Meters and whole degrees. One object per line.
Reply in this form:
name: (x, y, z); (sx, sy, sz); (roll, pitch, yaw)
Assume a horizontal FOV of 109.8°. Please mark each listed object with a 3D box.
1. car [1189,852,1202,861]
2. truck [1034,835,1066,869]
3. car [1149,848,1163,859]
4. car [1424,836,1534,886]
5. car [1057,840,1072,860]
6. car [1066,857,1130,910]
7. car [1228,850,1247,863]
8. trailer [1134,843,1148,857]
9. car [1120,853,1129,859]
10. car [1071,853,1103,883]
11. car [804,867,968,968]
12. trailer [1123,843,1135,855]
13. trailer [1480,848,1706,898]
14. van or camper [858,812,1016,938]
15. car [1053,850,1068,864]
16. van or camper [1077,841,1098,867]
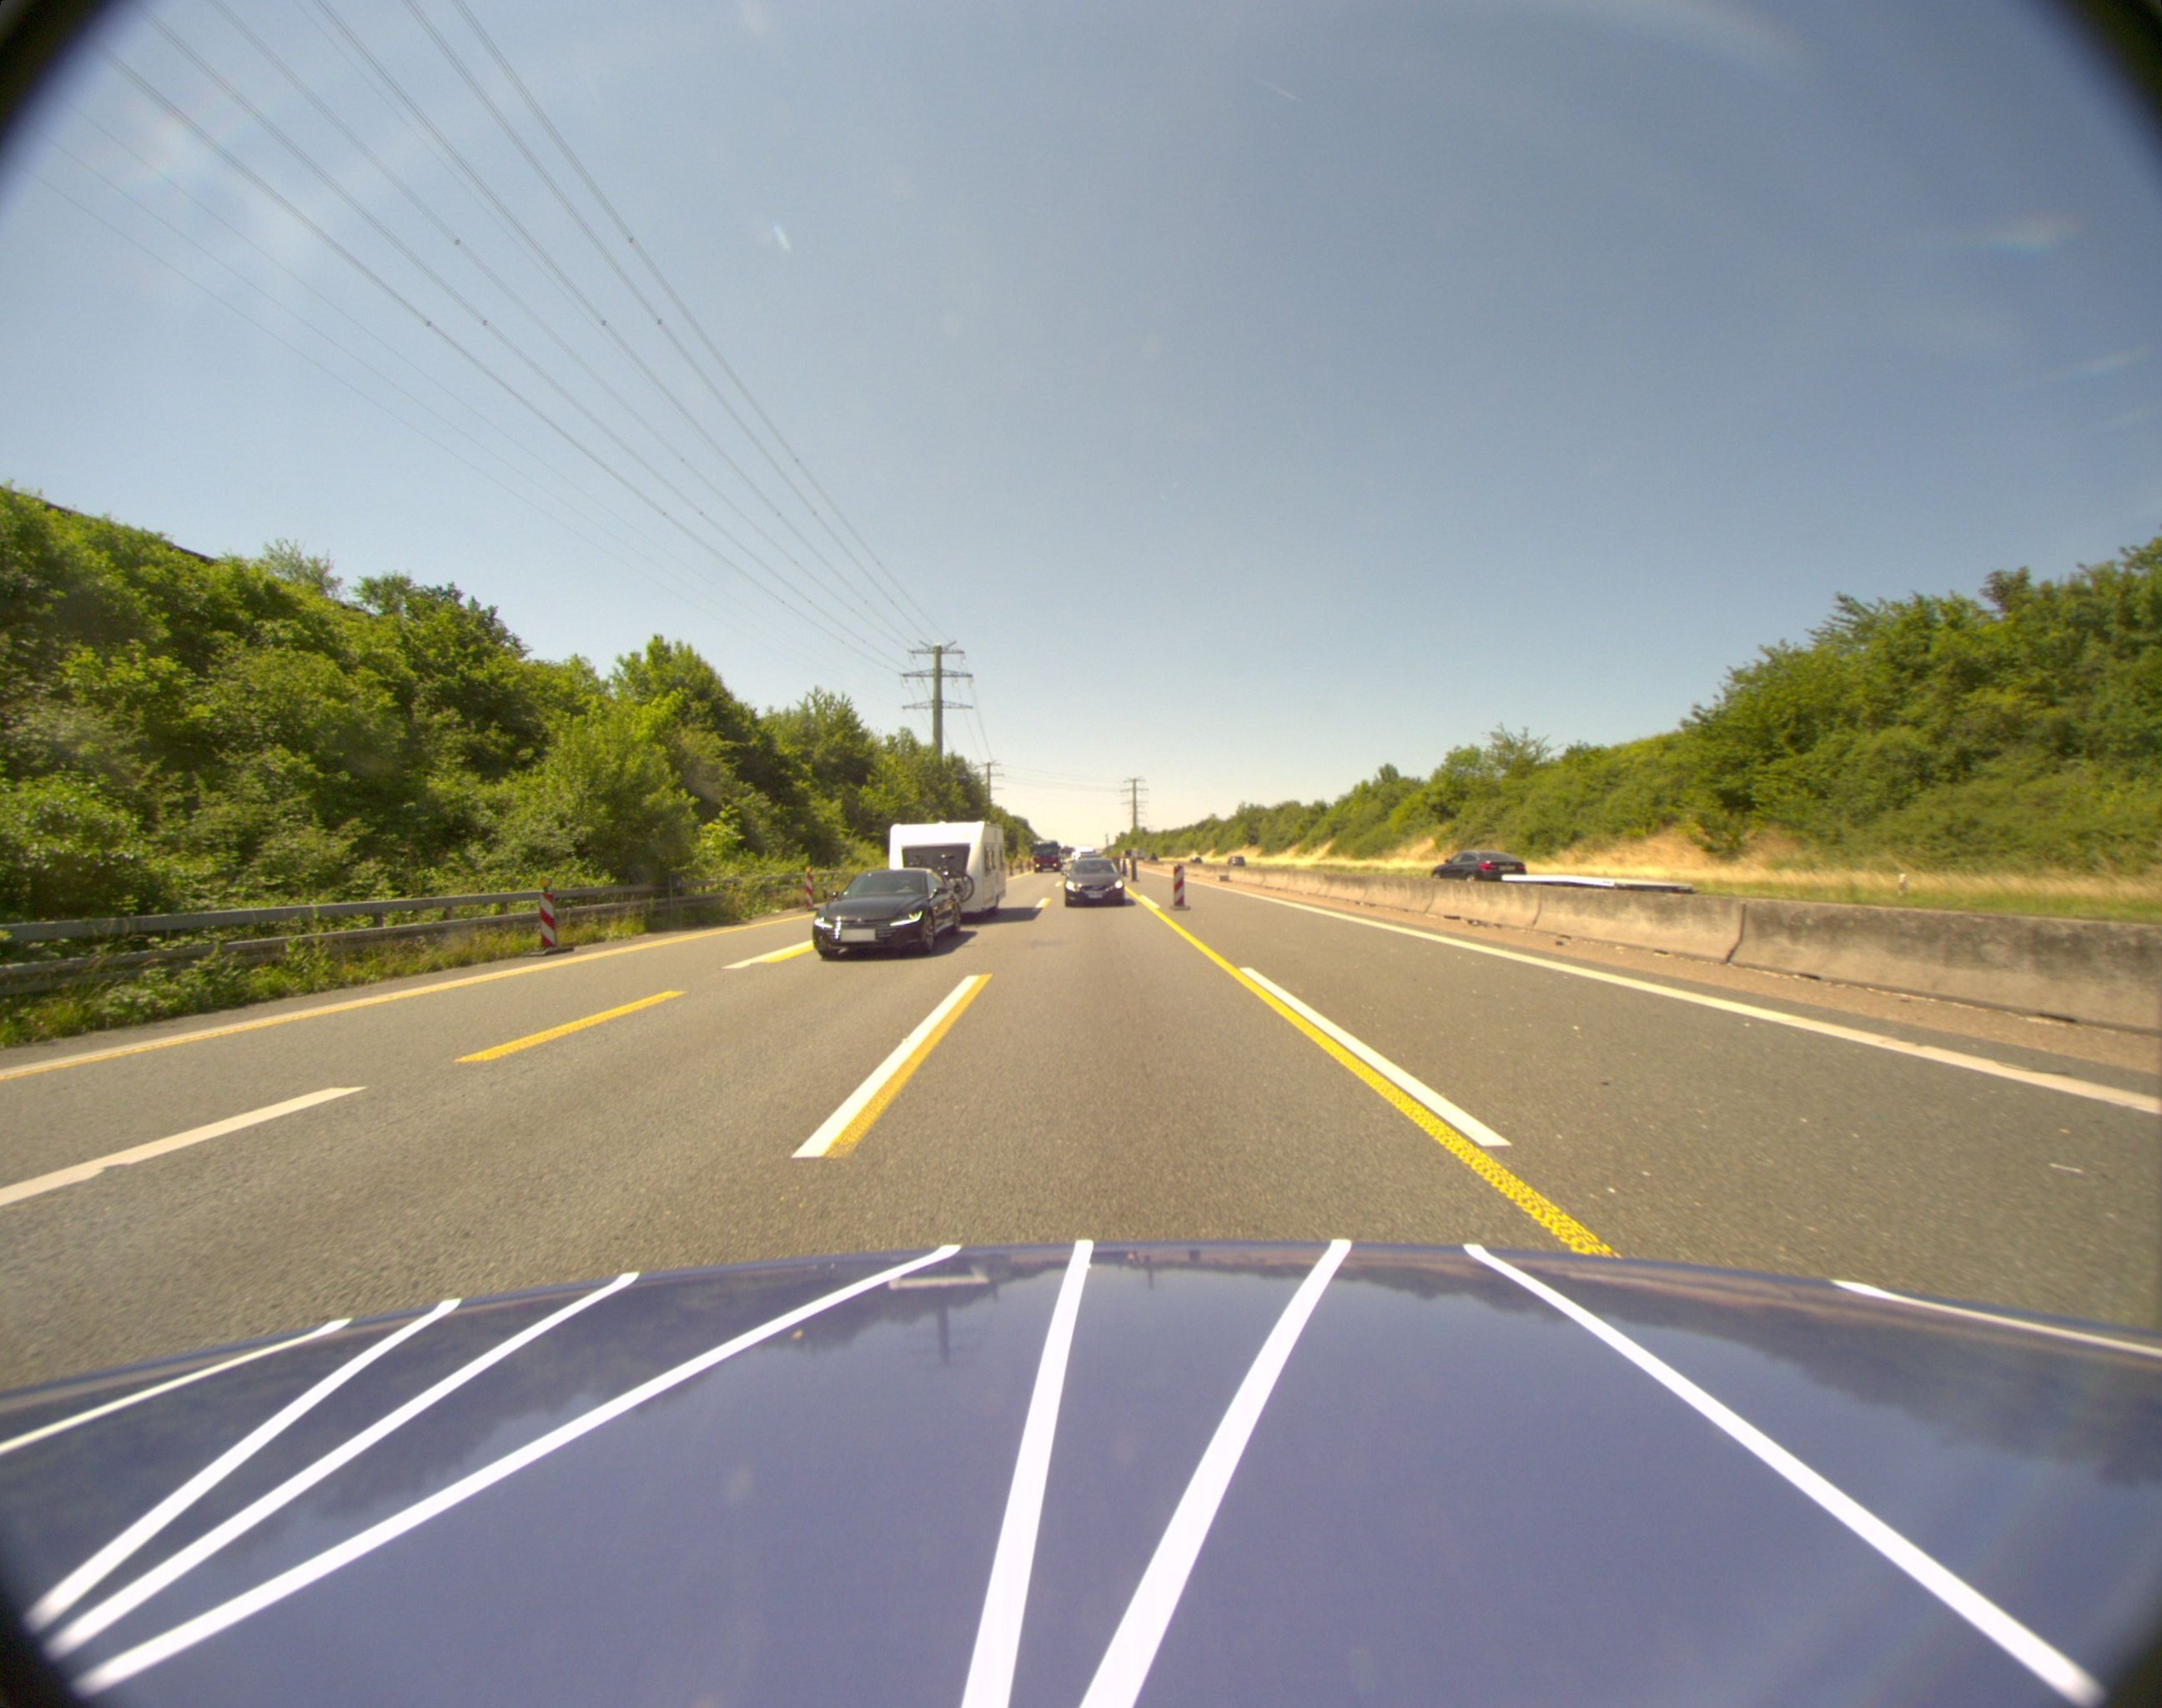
car: (19.009, 0.390, 126.365); (1.578, 1.456, 3.778); (0, 0, 1)
truck: (-3.107, -0.223, 77.203); (2.431, 3.122, 7.648); (-4, 0, 2)
car: (12.426, -0.041, 126.175); (1.746, 1.807, 4.622); (0, 0, 0)
car: (15.663, 0.253, 30.195); (1.918, 1.743, 4.565); (-3, 0, 0)
car: (-3.245, -0.832, 151.012); (2.397, 3.779, 10.273); (-2, 0, 1)
car: (0.602, 0.871, 24.026); (1.798, 1.433, 4.001); (-2, 0, 3)
car: (19.289, 0.300, 93.936); (1.503, 1.539, 3.999); (0, 0, 0)
trailer: (18.296, -1.302, 233.687); (2.961, 4.038, 13.636); (1, 0, -1)
car: (10.509, 0.464, 183.271); (1.998, 1.591, 4.582); (0, 0, 1)
car: (0.396, 0.790, 45.377); (1.675, 1.619, 4.691); (-3, 0, 2)
car: (-3.305, 1.009, 13.771); (1.800, 1.399, 4.209); (-2, 0, 0)
trailer: (17.043, -1.664, 269.578); (3.168, 4.155, 13.682); (0, 0, -1)
trailer: (15.771, 0.506, 24.194); (2.362, 1.336, 7.216); (0, 0, 0)
van or camper: (-3.373, 0.425, 20.098); (2.432, 2.549, 8.417); (-2, 0, 0)
car: (-2.847, 0.376, 104.620); (1.850, 1.810, 3.926); (-2, 0, 1)
van or camper: (0.691, 0.029, 78.556); (1.998, 2.604, 5.629); (0, 0, 2)
